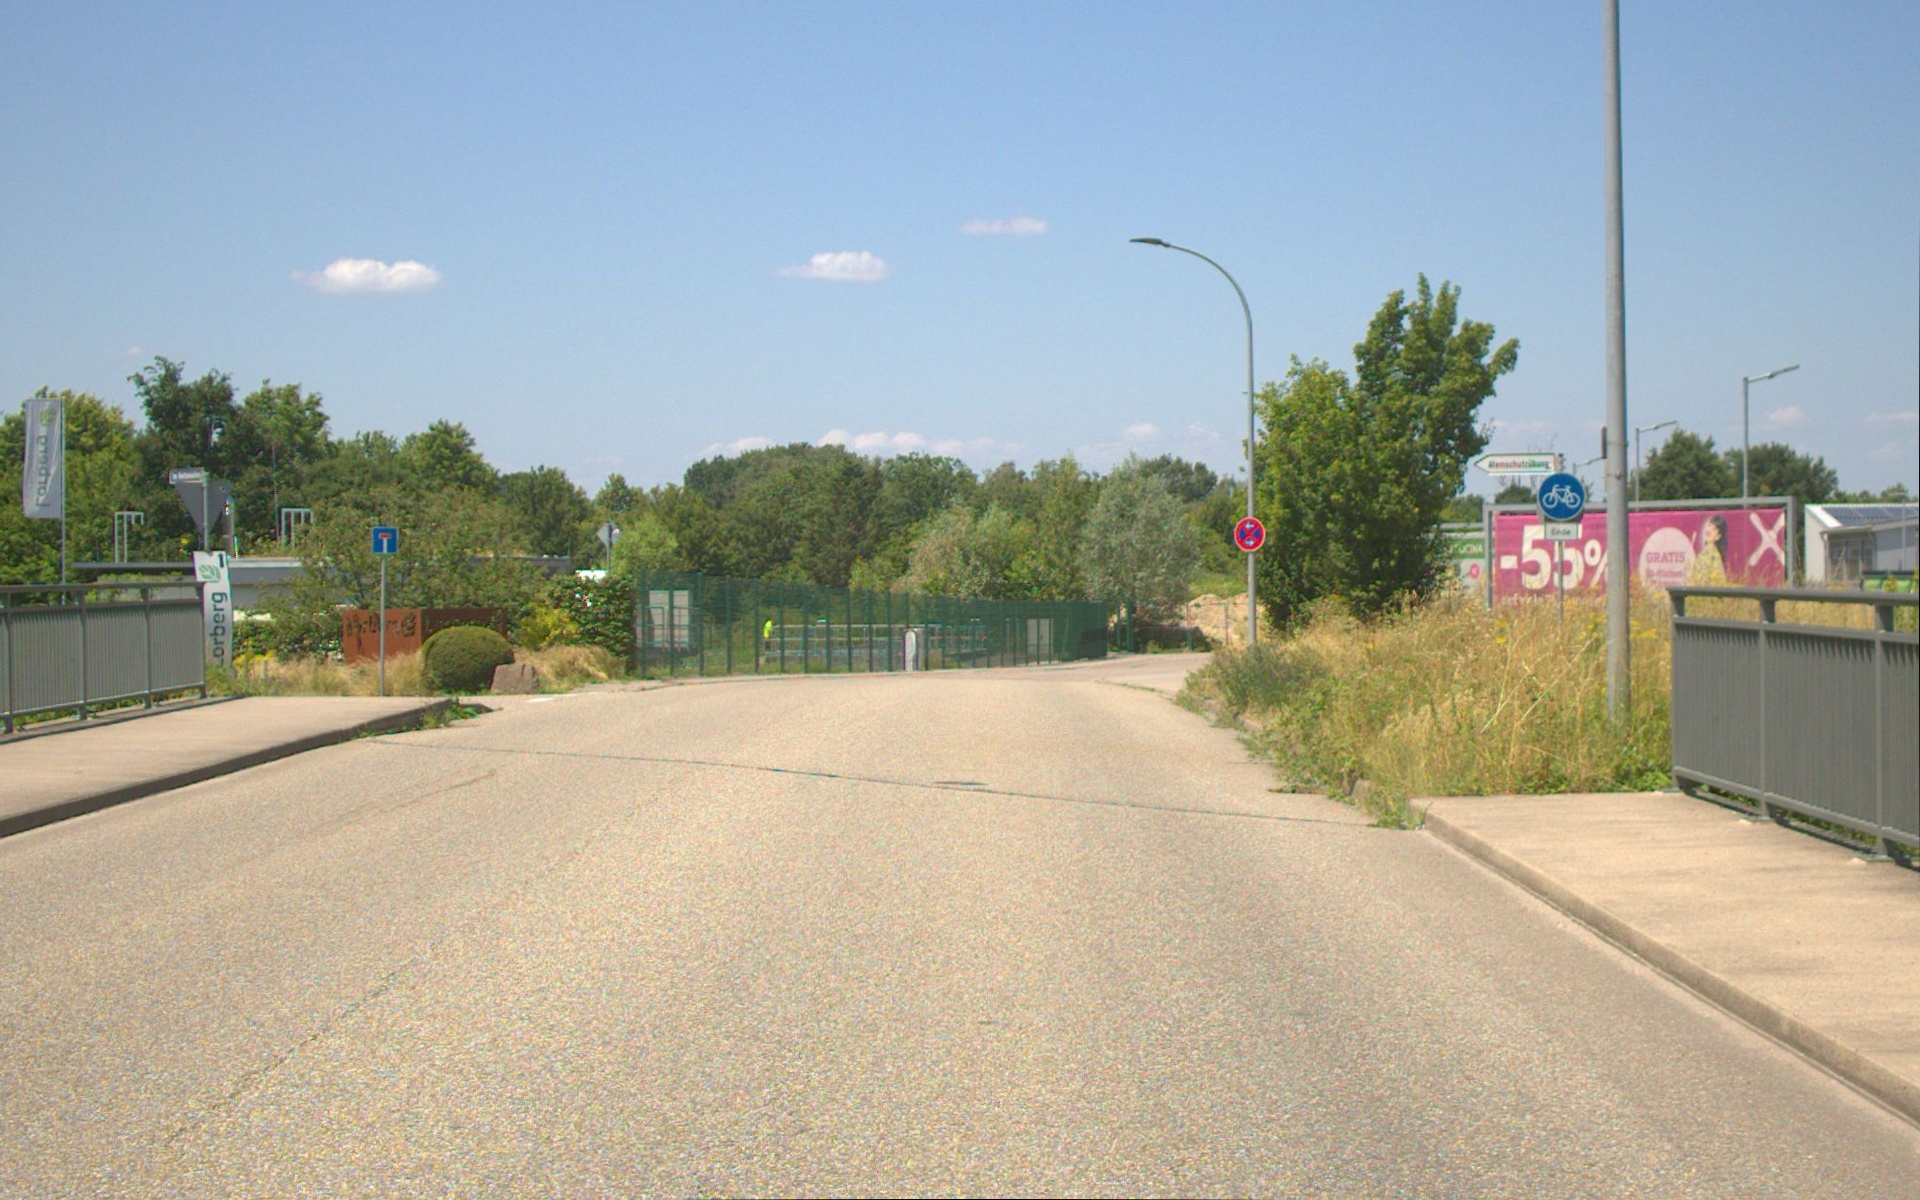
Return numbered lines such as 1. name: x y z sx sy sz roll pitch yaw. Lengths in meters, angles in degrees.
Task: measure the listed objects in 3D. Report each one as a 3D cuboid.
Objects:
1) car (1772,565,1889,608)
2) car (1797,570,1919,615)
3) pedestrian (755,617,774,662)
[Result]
1. car: 30.411 -0.484 120.160 3.736 1.439 1.942 1 0 7
2. car: 29.753 -0.243 113.794 3.736 1.439 1.942 1 0 7
3. pedestrian: -8.056 1.618 141.705 0.606 1.833 0.804 -1 -1 9
